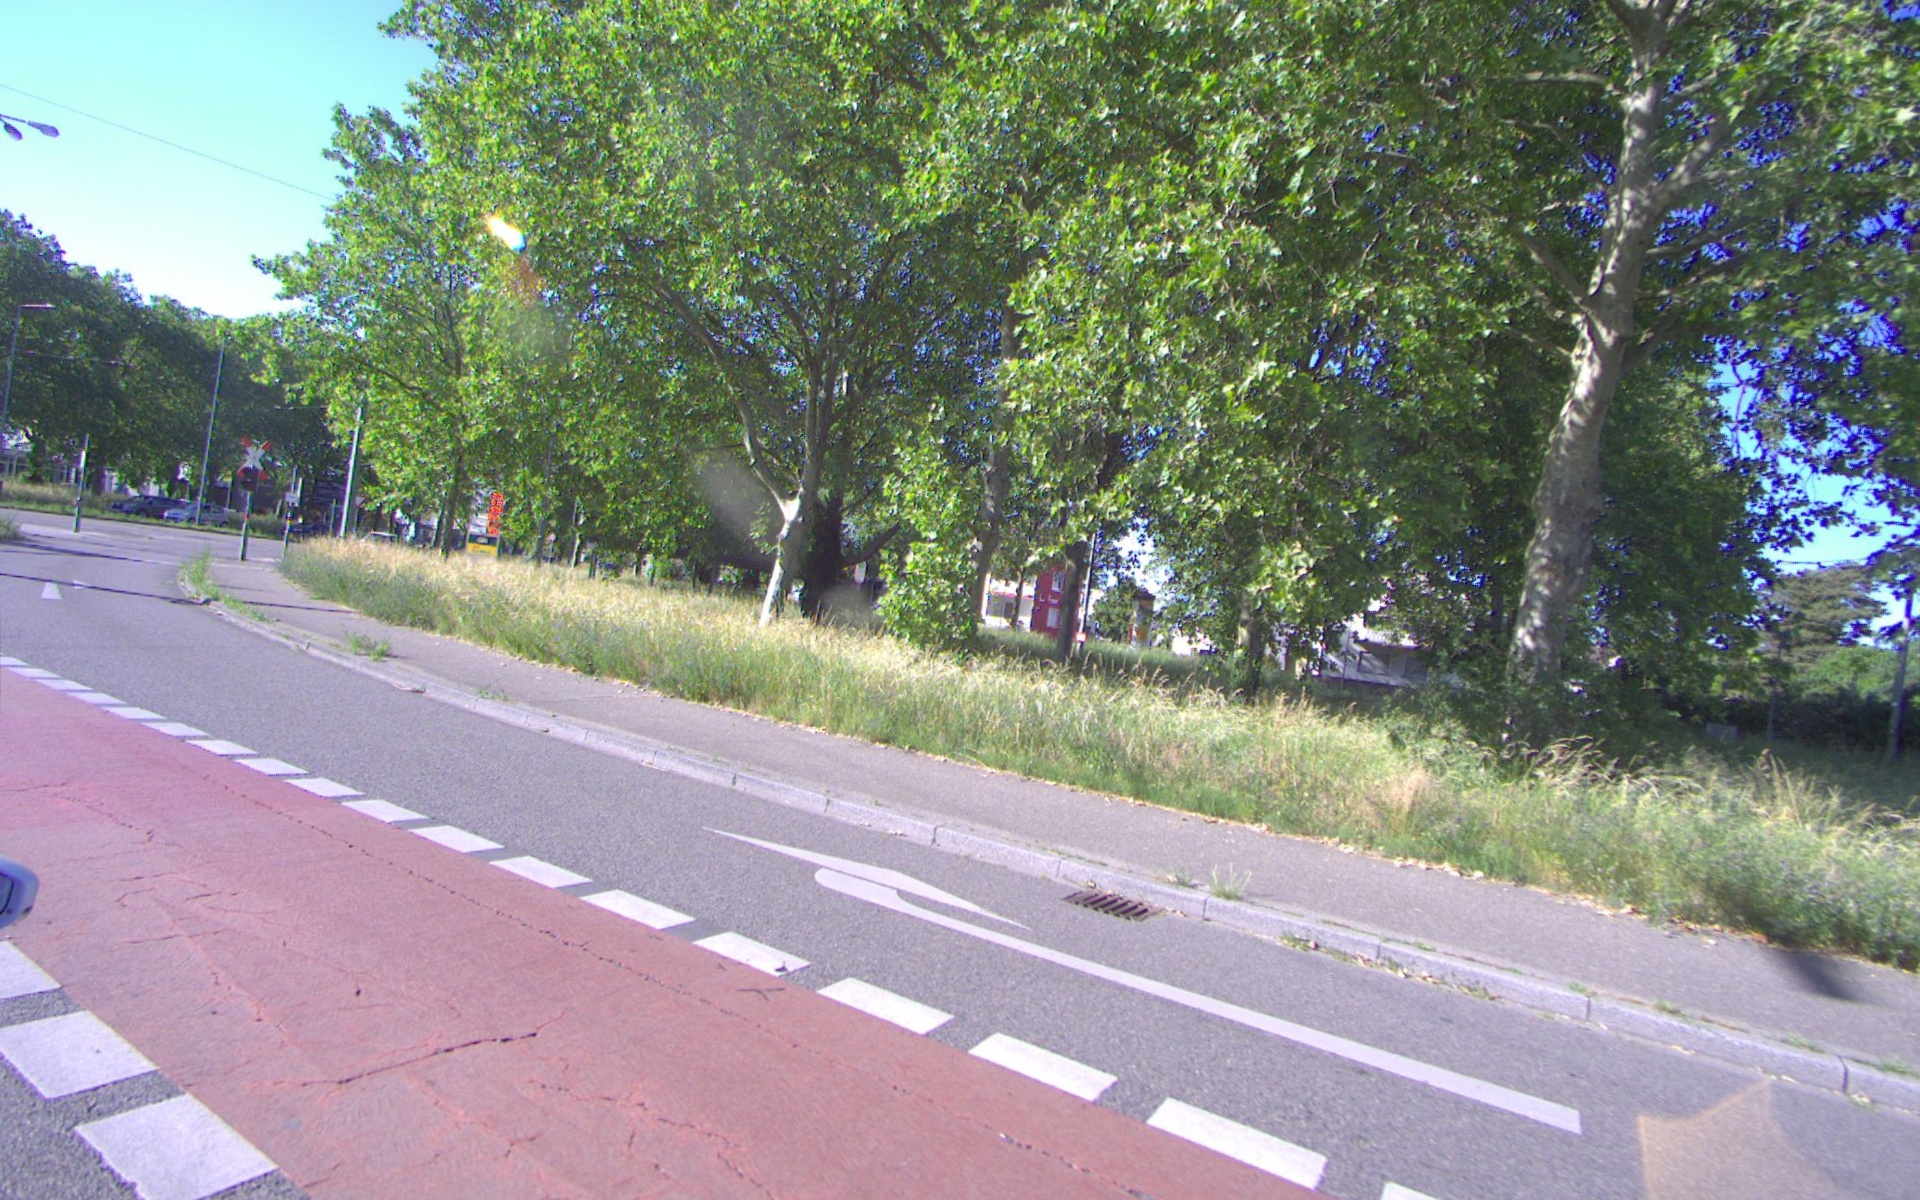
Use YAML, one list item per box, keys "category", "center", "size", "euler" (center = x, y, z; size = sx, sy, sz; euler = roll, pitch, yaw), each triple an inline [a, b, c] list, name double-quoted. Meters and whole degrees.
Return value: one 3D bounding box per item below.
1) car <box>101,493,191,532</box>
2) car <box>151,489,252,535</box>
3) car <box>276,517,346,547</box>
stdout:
- category: "car"
  center: [-51.367, -5.489, 63.574]
  size: [1.845, 1.596, 4.006]
  euler: [8, -2, 11]
- category: "car"
  center: [-47.599, -5.503, 63.298]
  size: [1.962, 2.038, 4.907]
  euler: [8, -1, 9]
- category: "car"
  center: [-49.224, -5.130, 76.410]
  size: [1.661, 1.593, 4.528]
  euler: [8, -1, 10]
